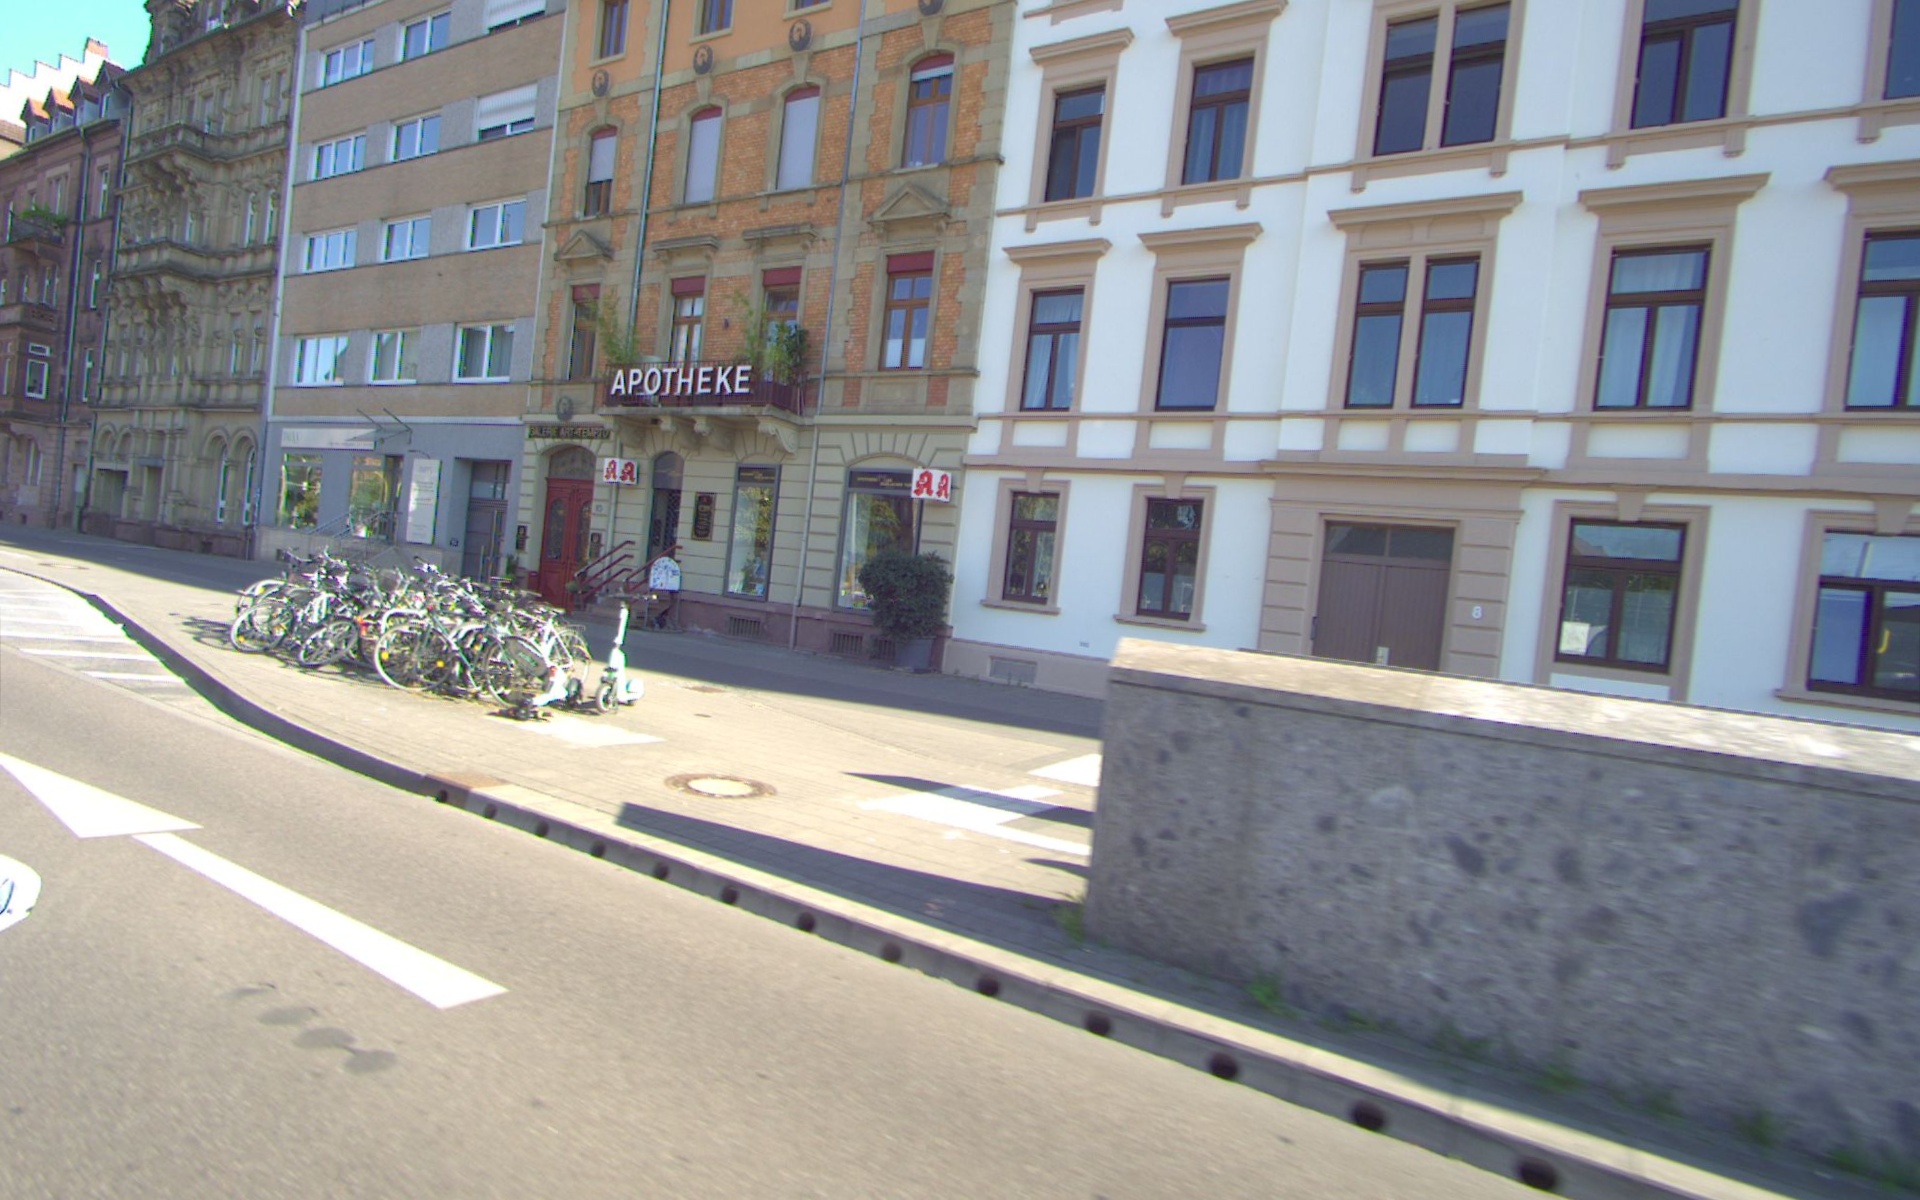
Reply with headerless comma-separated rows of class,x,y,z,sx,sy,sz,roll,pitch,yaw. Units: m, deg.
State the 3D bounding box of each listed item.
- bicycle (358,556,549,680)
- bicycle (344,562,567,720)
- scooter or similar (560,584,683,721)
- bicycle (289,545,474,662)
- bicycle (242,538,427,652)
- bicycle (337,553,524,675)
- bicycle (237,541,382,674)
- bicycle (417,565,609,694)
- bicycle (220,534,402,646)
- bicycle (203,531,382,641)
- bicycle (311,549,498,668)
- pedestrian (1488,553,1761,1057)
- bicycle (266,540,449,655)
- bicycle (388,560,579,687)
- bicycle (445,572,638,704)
bicycle,-5.443,0.233,10.925,0.462,1.202,1.767,8,0,31
bicycle,-4.544,0.358,9.079,1.737,1.161,0.470,8,1,8
scooter or similar,-3.357,0.516,10.090,0.630,1.230,1.210,6,-1,5
bicycle,-6.697,0.081,11.741,0.462,1.202,1.767,8,0,31
bicycle,-7.544,-0.022,12.225,0.462,1.202,1.794,8,0,31
bicycle,-5.847,0.196,11.218,0.462,1.202,1.767,8,0,31
bicycle,-6.796,0.065,10.481,1.741,1.161,0.469,8,1,32
bicycle,-4.589,0.341,10.451,0.462,1.193,1.767,8,0,31
bicycle,-7.979,-0.092,12.452,0.462,1.202,1.767,8,0,31
bicycle,-8.381,-0.142,12.722,0.462,1.202,1.767,8,0,31
bicycle,-6.281,0.140,11.482,0.462,1.202,1.767,8,0,31
pedestrian,3.019,0.867,4.646,0.686,2.040,0.751,10,4,32
bicycle,-7.124,0.006,11.987,0.462,1.202,1.767,8,0,31
bicycle,-5.009,0.290,10.697,0.462,1.202,1.767,8,0,31
bicycle,-4.176,0.412,10.189,0.462,1.193,1.767,8,0,31
